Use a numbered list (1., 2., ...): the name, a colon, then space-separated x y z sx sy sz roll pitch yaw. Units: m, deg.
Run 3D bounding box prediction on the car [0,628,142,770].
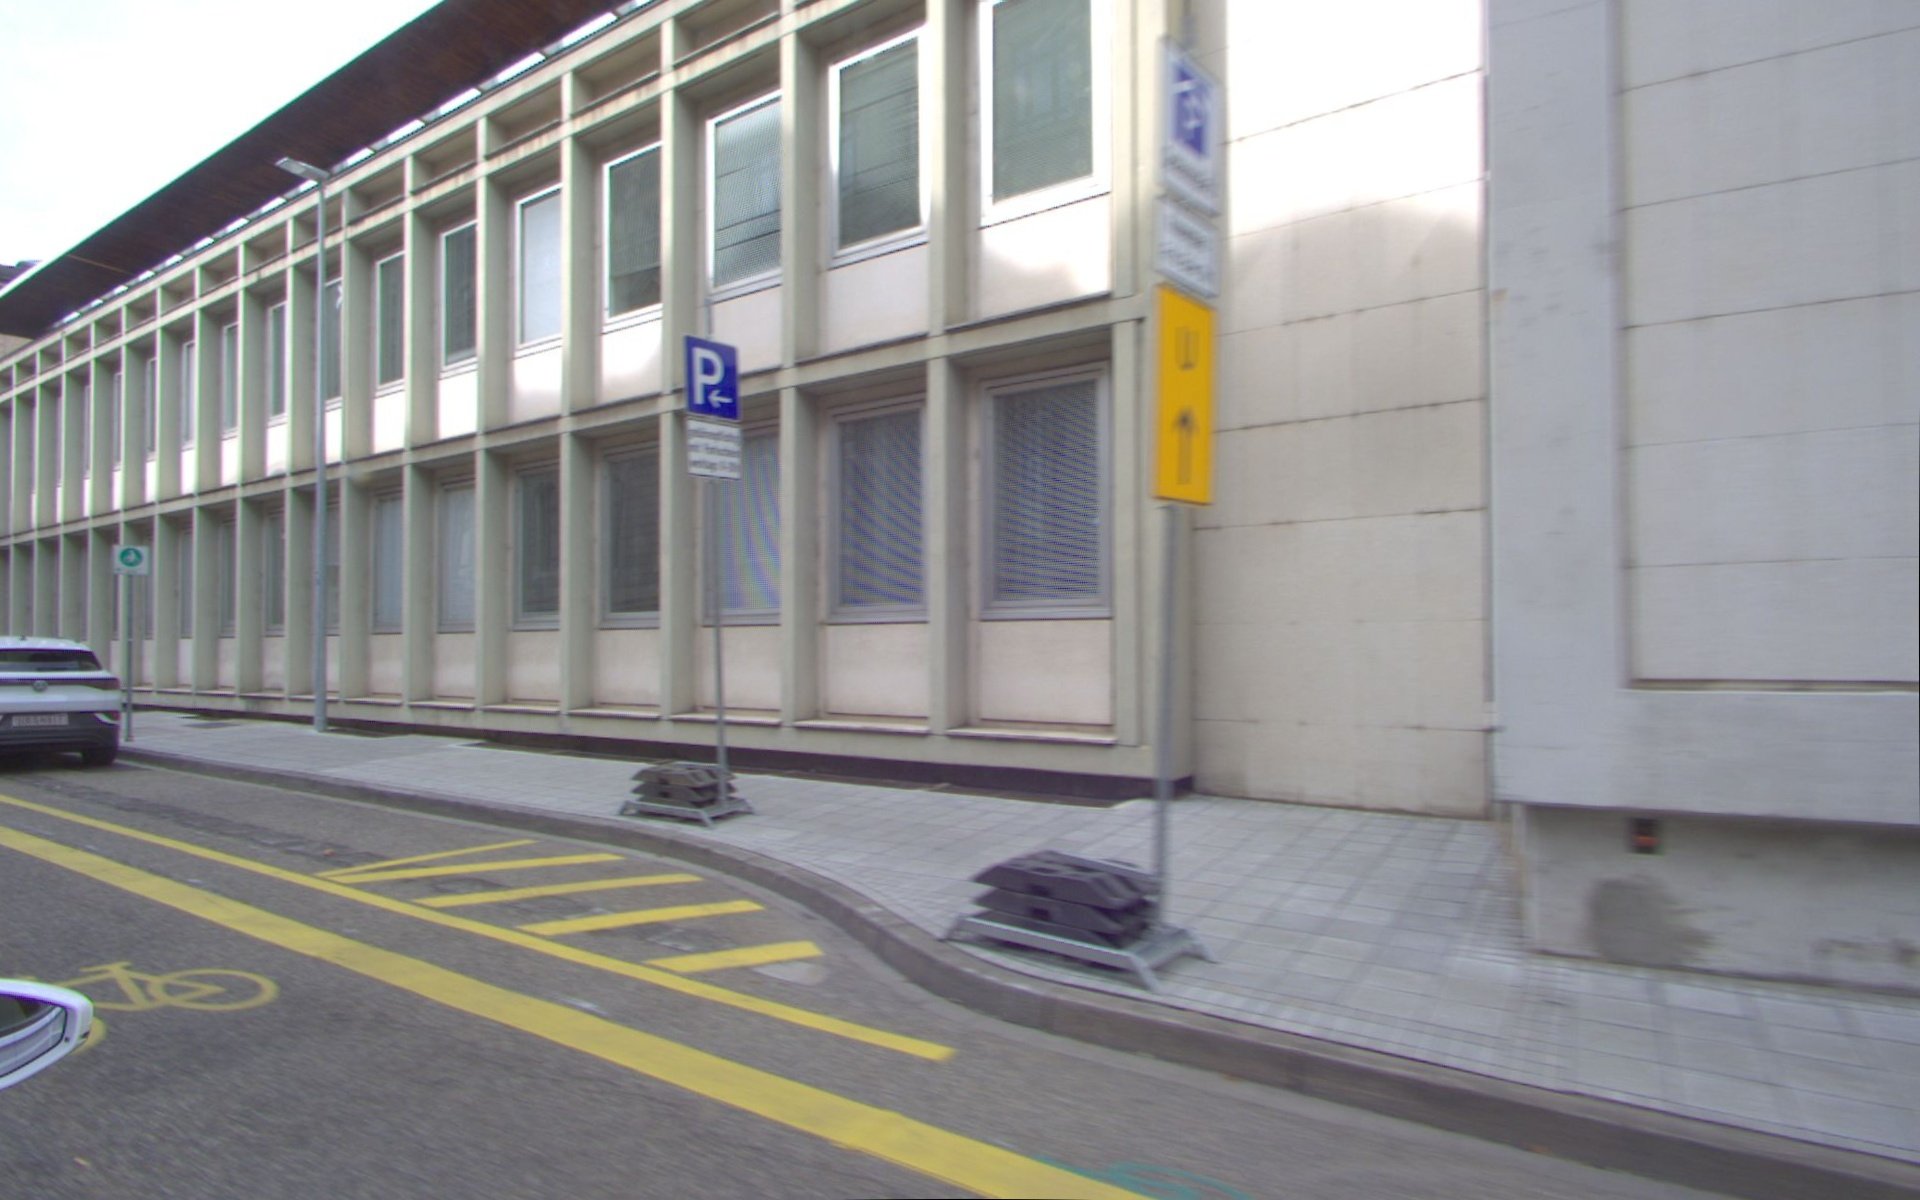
1. car: -12.605 1.207 13.079 4.453 1.624 1.856 -2 -4 36
